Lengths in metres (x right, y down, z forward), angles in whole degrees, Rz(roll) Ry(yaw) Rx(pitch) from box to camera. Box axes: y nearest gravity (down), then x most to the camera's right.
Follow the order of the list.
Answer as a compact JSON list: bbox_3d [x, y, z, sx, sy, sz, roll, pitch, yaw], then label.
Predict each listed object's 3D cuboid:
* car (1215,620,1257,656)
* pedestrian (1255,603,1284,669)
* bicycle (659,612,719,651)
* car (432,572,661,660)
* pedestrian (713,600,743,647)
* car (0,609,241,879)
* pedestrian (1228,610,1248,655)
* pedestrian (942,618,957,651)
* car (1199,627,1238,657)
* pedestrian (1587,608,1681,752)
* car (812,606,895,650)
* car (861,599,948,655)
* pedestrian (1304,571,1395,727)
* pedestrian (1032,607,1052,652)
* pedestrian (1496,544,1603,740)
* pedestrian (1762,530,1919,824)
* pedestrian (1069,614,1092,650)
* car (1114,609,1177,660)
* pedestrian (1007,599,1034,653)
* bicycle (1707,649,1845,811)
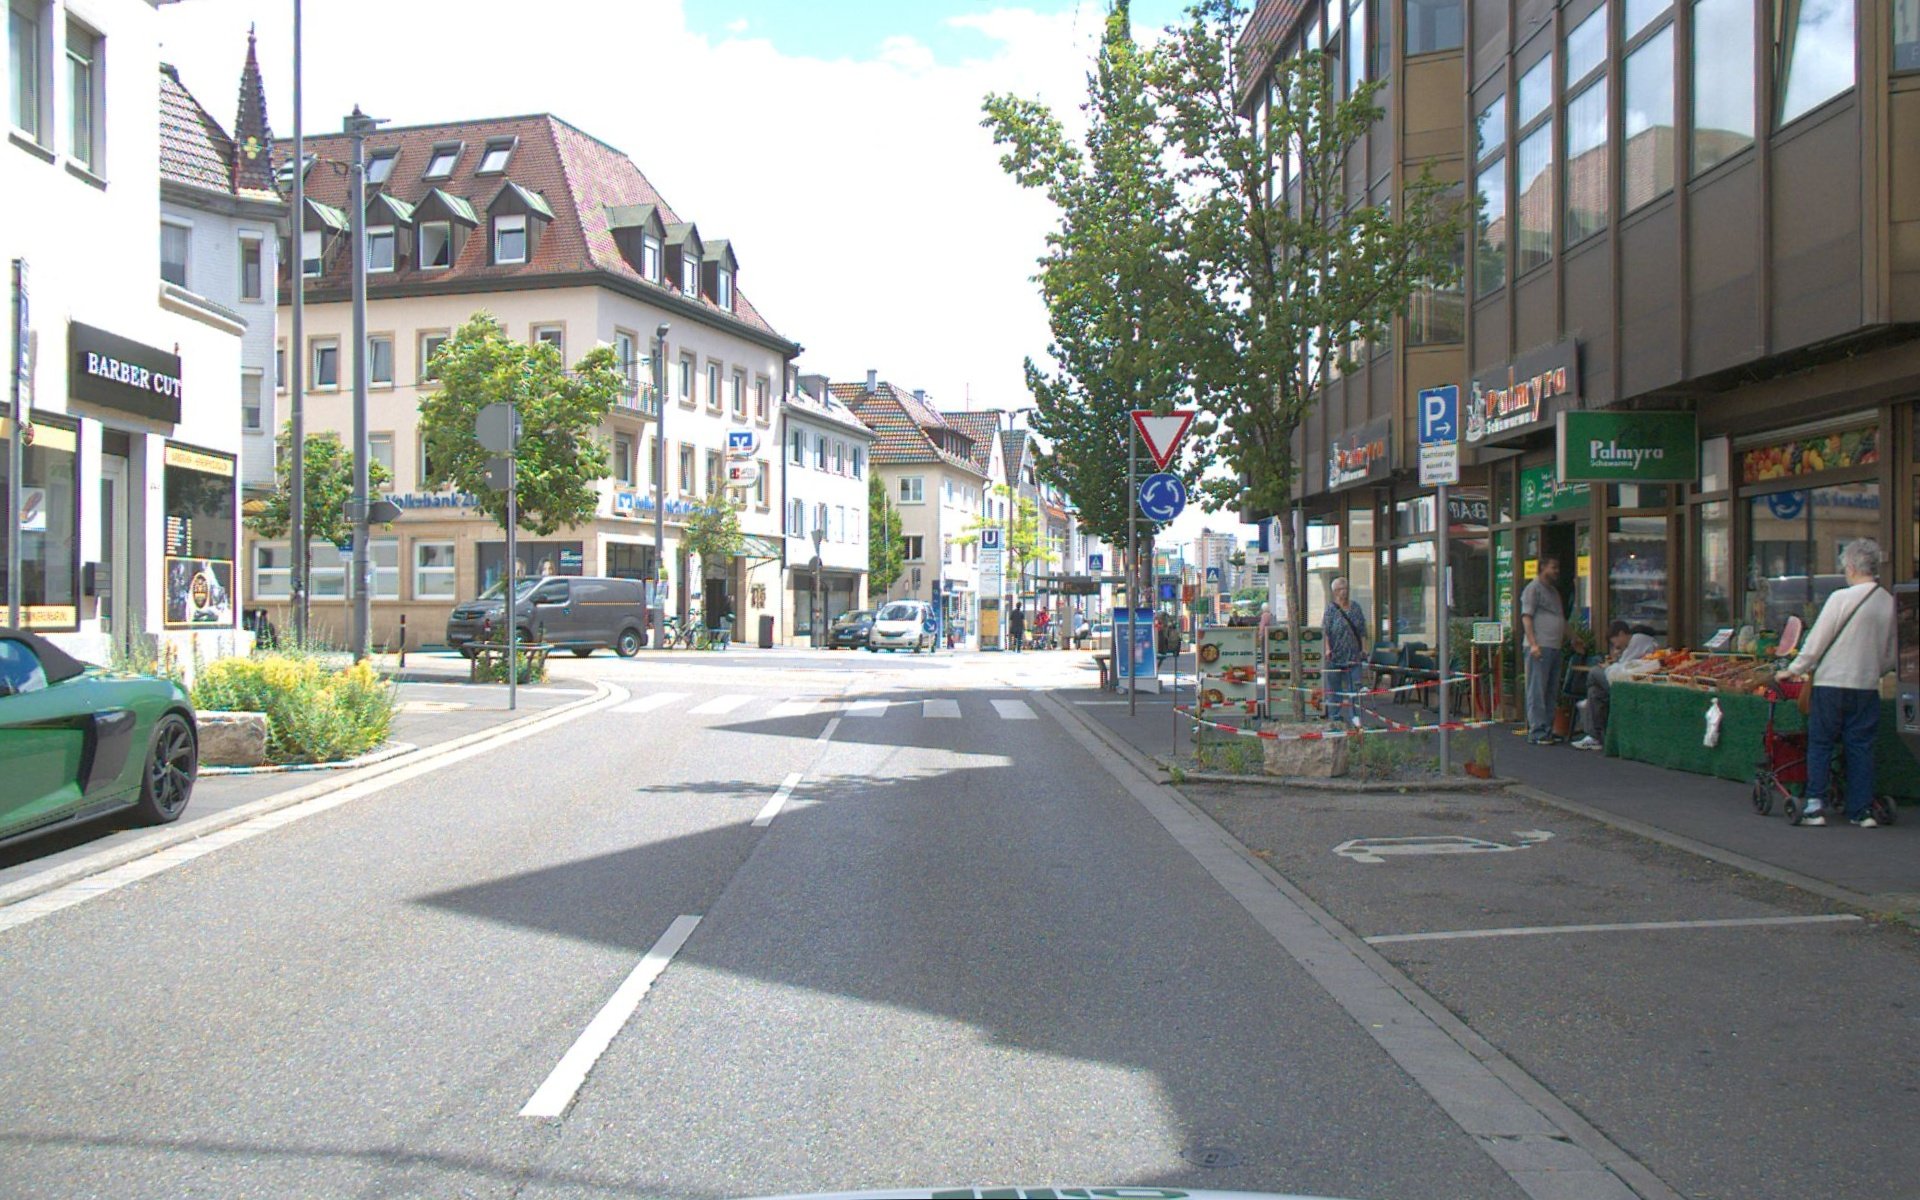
[{"bbox_3d":[12.598,1.713,75.359,1.661,1.557,3.474,1,-1,13],"label":"car"},{"bbox_3d":[8.150,0.939,43.571,0.608,1.719,0.652,1,-1,-1],"label":"pedestrian"},{"bbox_3d":[-7.718,0.894,47.117,1.597,1.049,0.568,1,-1,14],"label":"bicycle"},{"bbox_3d":[-9.401,0.390,37.983,2.006,1.881,4.980,1,-1,36],"label":"car"},{"bbox_3d":[-7.776,0.801,55.513,0.613,1.559,0.858,1,-1,23],"label":"pedestrian"},{"bbox_3d":[-5.587,0.713,8.574,1.782,1.245,4.522,2,0,-1],"label":"car"},{"bbox_3d":[10.549,1.233,62.822,0.608,1.719,0.652,1,-1,-1],"label":"pedestrian"},{"bbox_3d":[-0.521,1.693,81.671,0.679,1.638,0.643,1,-1,-5],"label":"pedestrian"},{"bbox_3d":[15.051,2.429,96.333,1.908,1.669,4.002,1,-1,4],"label":"car"},{"bbox_3d":[6.169,0.719,15.163,0.608,1.275,0.613,1,-1,2],"label":"pedestrian"},{"bbox_3d":[-3.825,1.002,59.946,1.951,1.478,4.003,1,-1,12],"label":"car"},{"bbox_3d":[-1.774,0.876,54.282,1.951,1.719,4.003,1,-1,11],"label":"car"},{"bbox_3d":[4.224,0.522,17.977,0.768,1.644,0.800,1,-1,-1],"label":"pedestrian"},{"bbox_3d":[3.282,1.162,65.934,0.712,1.794,0.749,1,0,9],"label":"pedestrian"},{"bbox_3d":[5.765,0.404,16.203,0.722,1.846,0.711,-2,-1,-1],"label":"pedestrian"},{"bbox_3d":[5.465,0.460,10.213,0.647,1.736,0.642,2,-1,-24],"label":"pedestrian"},{"bbox_3d":[5.353,1.407,73.237,0.715,1.607,0.745,0,0,37],"label":"pedestrian"},{"bbox_3d":[6.027,1.090,53.456,1.661,1.557,3.474,1,-1,13],"label":"car"},{"bbox_3d":[1.974,0.855,54.267,0.851,1.738,0.531,1,-1,2],"label":"pedestrian"},{"bbox_3d":[5.286,0.827,10.727,0.594,0.996,0.554,2,-1,-24],"label":"bicycle"}]
